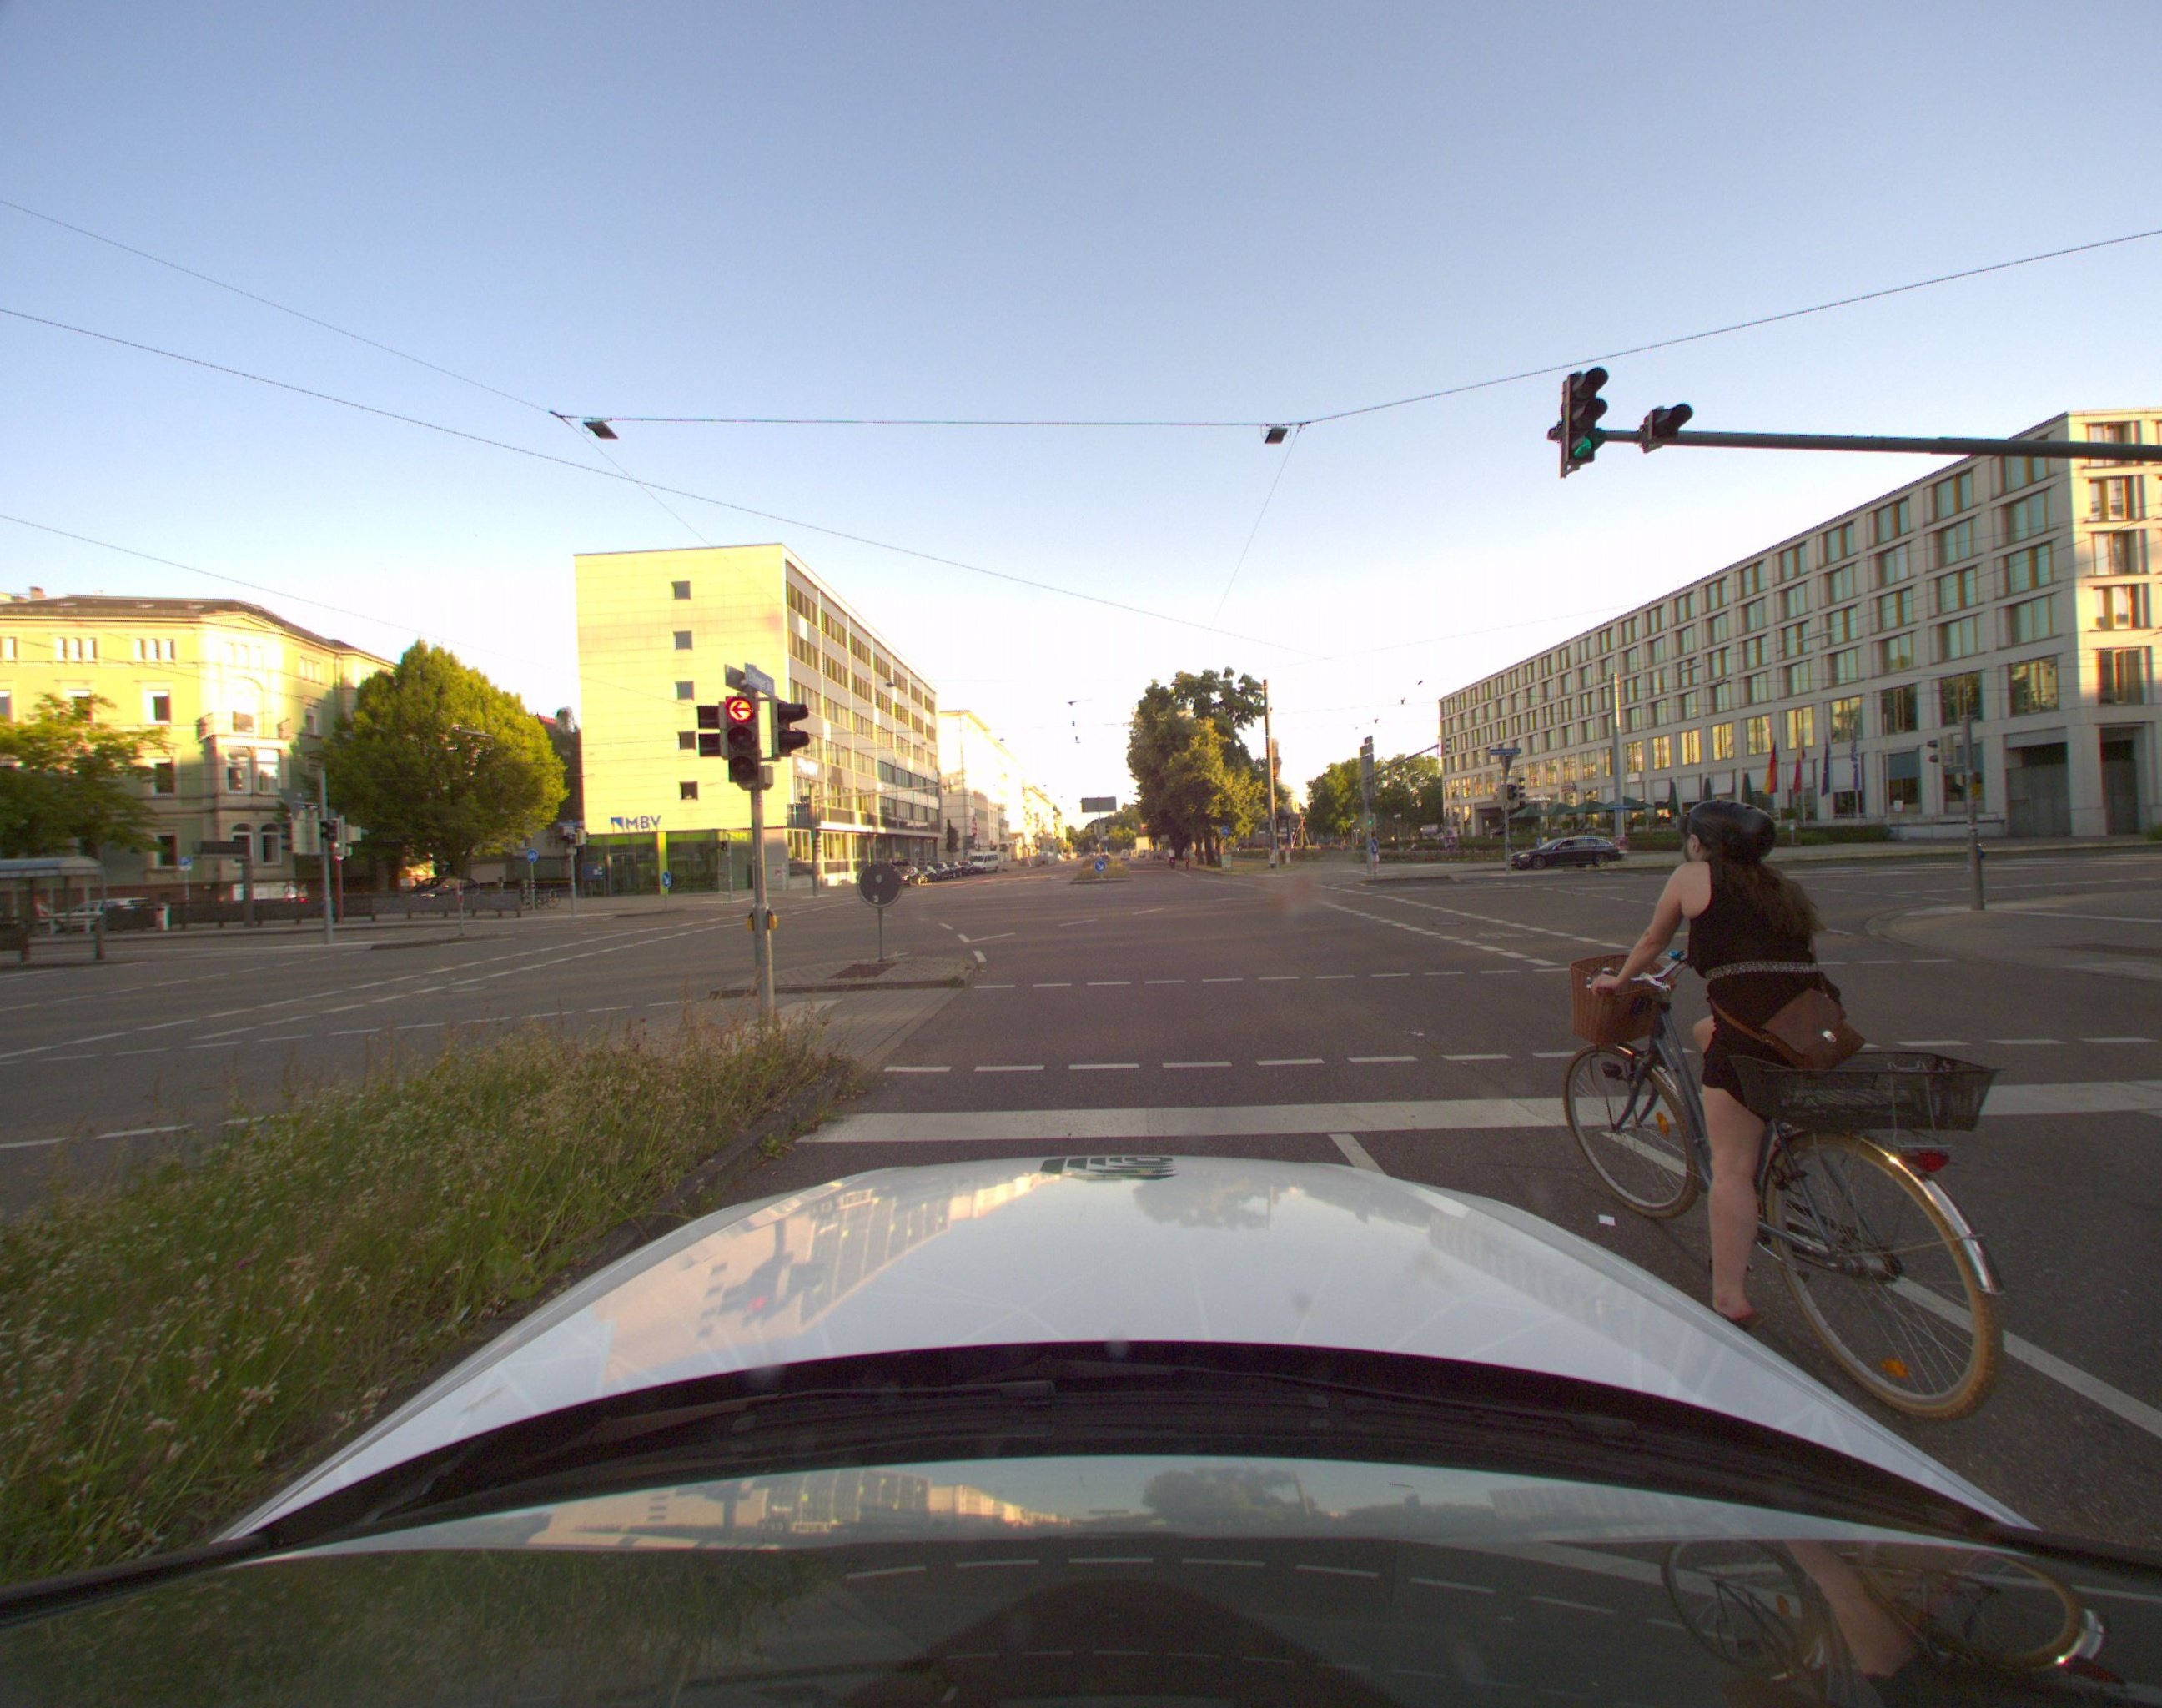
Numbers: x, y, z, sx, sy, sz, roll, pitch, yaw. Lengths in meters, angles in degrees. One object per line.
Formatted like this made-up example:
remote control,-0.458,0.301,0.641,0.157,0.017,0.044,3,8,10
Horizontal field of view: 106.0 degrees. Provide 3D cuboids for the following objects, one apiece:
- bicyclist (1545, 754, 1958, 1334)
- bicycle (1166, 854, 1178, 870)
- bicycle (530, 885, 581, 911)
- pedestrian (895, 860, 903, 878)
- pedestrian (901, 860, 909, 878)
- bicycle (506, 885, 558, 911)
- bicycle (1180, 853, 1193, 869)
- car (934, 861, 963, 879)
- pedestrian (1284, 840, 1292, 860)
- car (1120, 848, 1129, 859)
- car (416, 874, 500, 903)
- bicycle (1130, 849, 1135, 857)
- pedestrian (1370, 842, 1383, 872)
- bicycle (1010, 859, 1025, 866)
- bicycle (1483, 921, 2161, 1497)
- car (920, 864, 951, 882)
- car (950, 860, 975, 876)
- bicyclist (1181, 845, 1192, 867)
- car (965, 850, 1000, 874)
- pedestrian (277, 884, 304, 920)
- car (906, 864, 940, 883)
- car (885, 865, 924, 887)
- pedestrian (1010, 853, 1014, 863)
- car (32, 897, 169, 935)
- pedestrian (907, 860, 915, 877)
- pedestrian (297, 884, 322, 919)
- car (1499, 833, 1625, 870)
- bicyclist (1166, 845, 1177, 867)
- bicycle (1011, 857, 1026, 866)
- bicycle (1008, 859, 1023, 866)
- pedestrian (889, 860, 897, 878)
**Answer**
bicyclist,2.182,0.539,2.807,0.597,1.636,0.999,-1,0,2
bicycle,7.282,0.627,65.175,0.744,1.144,2.506,-3,0,2
bicycle,-25.620,2.145,39.779,0.832,1.112,2.216,-3,0,6
pedestrian,-17.439,1.451,77.902,0.549,1.679,0.500,-3,0,1
pedestrian,-16.949,1.447,78.424,0.498,1.679,0.500,-3,0,1
bicycle,-26.819,2.132,39.850,0.832,1.112,2.216,-3,0,6
bicycle,8.370,0.538,64.561,0.744,1.144,2.506,-3,0,2
car,-12.845,1.565,79.030,1.913,1.568,4.002,-3,0,2
pedestrian,17.761,-0.331,69.763,0.458,1.656,0.567,-3,0,1
car,7.162,-0.102,134.368,1.403,1.641,4.000,-3,0,1
car,-34.955,1.904,45.811,1.830,1.372,3.594,-3,0,0
bicycle,13.030,-0.246,207.169,0.997,2.013,4.007,-3,0,6
pedestrian,15.748,0.165,43.366,0.489,1.540,0.408,-3,0,1
bicycle,-9.993,1.328,127.518,2.198,1.112,0.689,-3,0,0
bicycle,2.185,0.890,2.850,0.609,1.132,2.005,-1,0,2
car,-13.097,1.675,73.728,1.913,1.464,4.002,-3,0,2
car,-12.377,1.436,85.252,1.913,1.568,4.002,-3,0,2
bicyclist,8.350,0.169,64.566,0.744,1.691,0.799,-3,0,1
car,-11.050,0.856,91.687,1.988,2.478,5.888,-3,0,12
pedestrian,-41.078,2.496,42.332,0.641,1.790,0.720,-3,0,-12
car,-13.306,1.638,68.915,1.913,1.464,4.002,-3,0,2
car,-13.502,1.652,62.401,1.913,1.464,4.105,-3,0,2
pedestrian,-14.085,0.794,165.571,0.677,2.013,0.545,-3,0,1
car,-45.260,2.840,37.670,3.588,1.372,1.833,-3,0,-15
pedestrian,-16.330,1.386,78.118,0.549,1.679,0.500,-3,0,1
pedestrian,-40.869,2.490,43.145,0.641,1.790,0.720,-3,0,-12
car,23.103,-0.140,39.250,4.803,1.515,2.002,-3,0,4
bicyclist,7.260,0.172,65.096,0.744,1.663,0.873,-3,0,1
bicycle,-9.928,1.190,129.338,2.198,1.236,0.839,-3,0,0
bicycle,-10.079,1.309,125.872,2.198,1.112,0.619,-3,0,0
pedestrian,-18.024,1.456,77.993,0.549,1.679,0.500,-3,0,1
